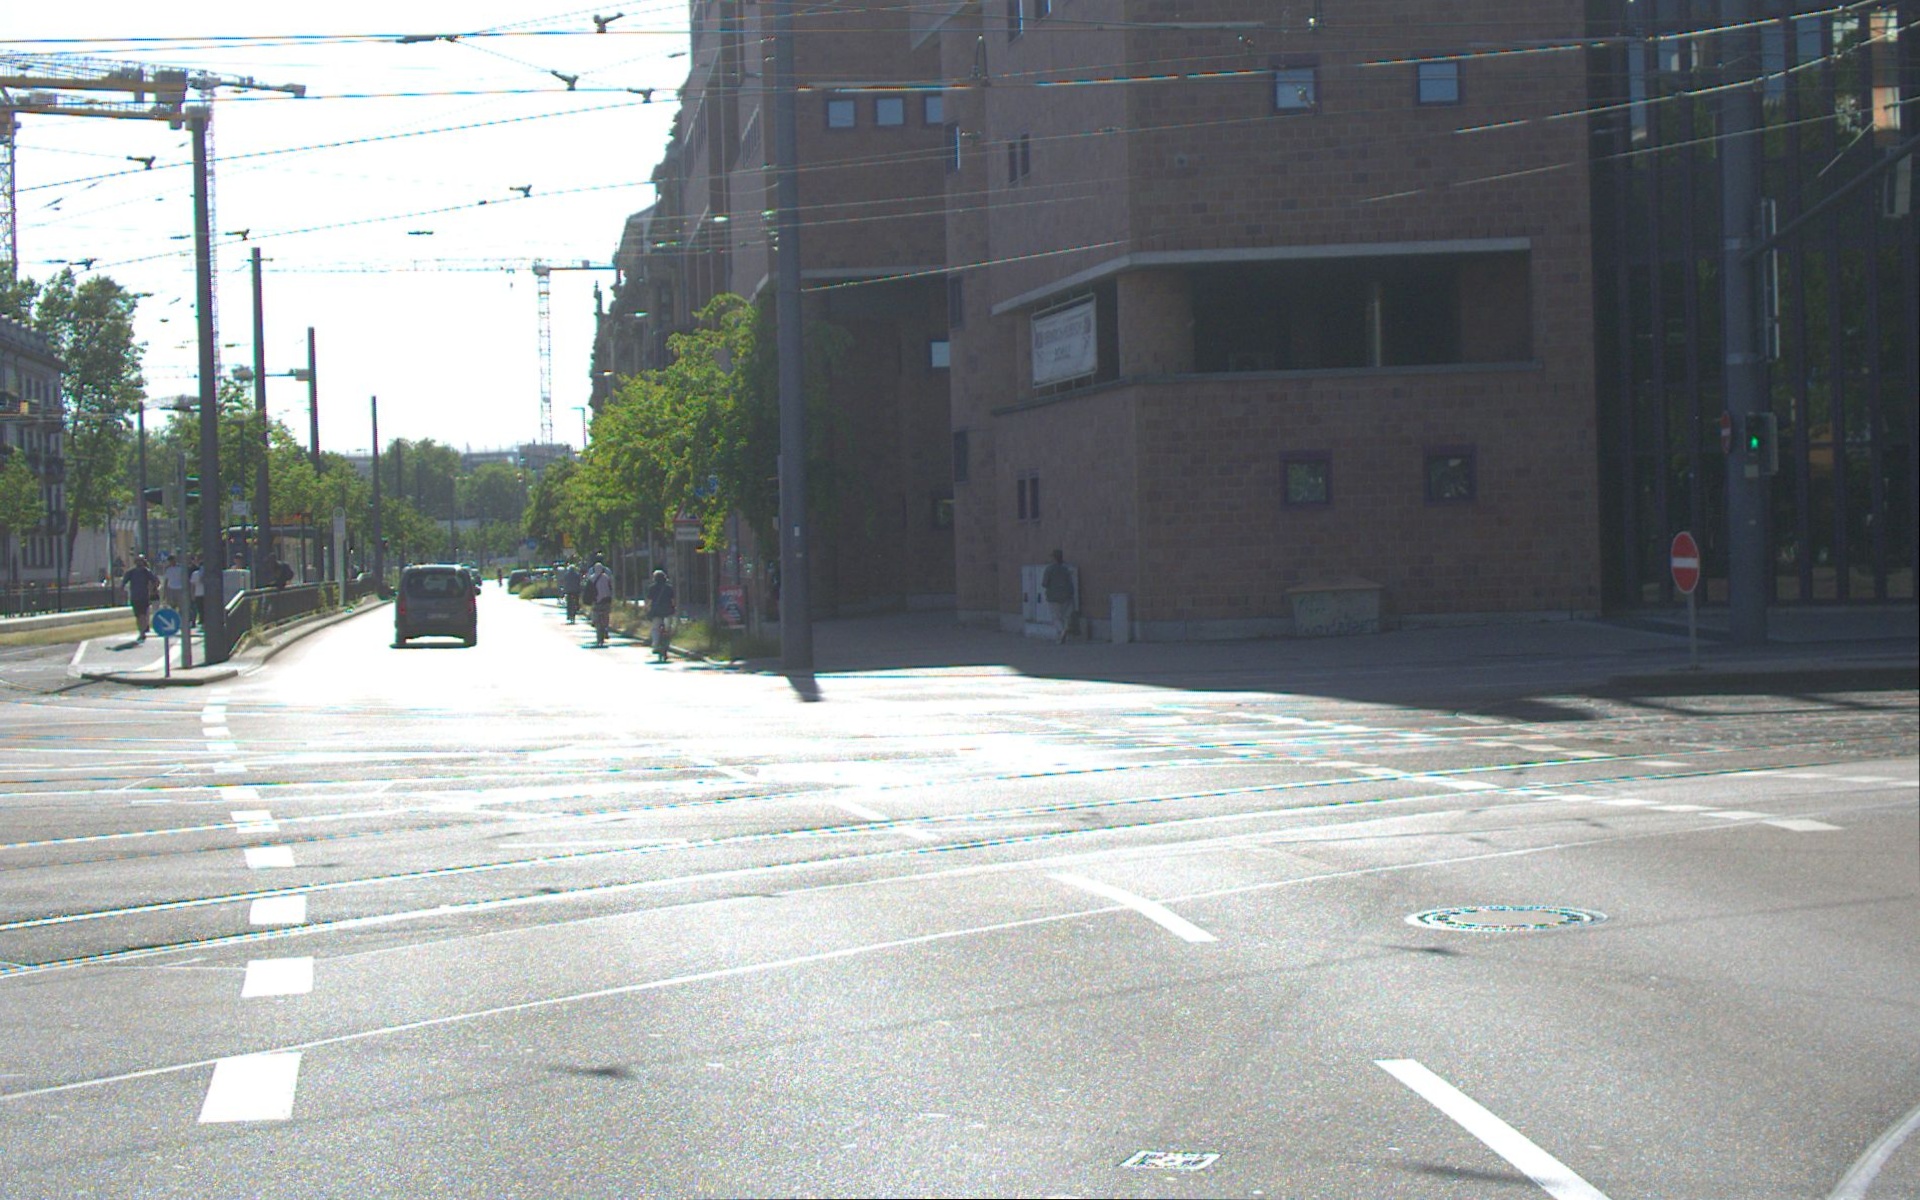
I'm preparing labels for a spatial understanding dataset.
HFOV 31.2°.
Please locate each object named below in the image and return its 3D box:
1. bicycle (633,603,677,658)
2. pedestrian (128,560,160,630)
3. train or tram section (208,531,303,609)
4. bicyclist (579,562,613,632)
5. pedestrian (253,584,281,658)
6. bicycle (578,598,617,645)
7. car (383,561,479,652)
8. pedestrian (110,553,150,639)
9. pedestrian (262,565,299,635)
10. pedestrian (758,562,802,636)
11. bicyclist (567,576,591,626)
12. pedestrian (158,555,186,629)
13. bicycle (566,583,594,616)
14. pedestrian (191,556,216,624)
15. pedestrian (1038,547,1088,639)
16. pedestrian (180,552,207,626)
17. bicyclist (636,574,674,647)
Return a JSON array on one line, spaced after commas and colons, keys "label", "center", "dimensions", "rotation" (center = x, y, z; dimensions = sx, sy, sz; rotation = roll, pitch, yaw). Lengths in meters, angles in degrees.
[{"label": "bicycle", "center": [-5.684, 0.554, 63.960], "dimensions": [0.603, 0.982, 2.315], "rotation": [-1, 1, -10]}, {"label": "pedestrian", "center": [-18.479, -0.112, 77.852], "dimensions": [0.600, 1.561, 0.914], "rotation": [-2, 1, -10]}, {"label": "train or tram section", "center": [-28.567, -1.268, 139.891], "dimensions": [2.326, 2.993, 13.162], "rotation": [-1, 1, -5]}, {"label": "bicyclist", "center": [-8.071, -0.063, 76.257], "dimensions": [0.667, 1.521, 0.707], "rotation": [-1, 0, -10]}, {"label": "pedestrian", "center": [-15.719, 0.482, 77.972], "dimensions": [0.538, 1.649, 0.707], "rotation": [-2, 1, -10]}, {"label": "bicycle", "center": [-8.042, 0.466, 76.177], "dimensions": [0.667, 0.982, 2.586], "rotation": [-1, 1, -10]}, {"label": "car", "center": [-11.960, 0.129, 77.588], "dimensions": [1.993, 1.941, 4.001], "rotation": [-2, 1, -10]}, {"label": "pedestrian", "center": [-16.566, -0.088, 68.626], "dimensions": [0.614, 1.663, 0.864], "rotation": [-5, 2, -11]}, {"label": "pedestrian", "center": [-16.976, 0.000, 85.898], "dimensions": [0.716, 1.729, 0.602], "rotation": [-2, 1, -27]}, {"label": "pedestrian", "center": [-4.239, -0.029, 80.974], "dimensions": [0.879, 1.711, 0.931], "rotation": [-2, 1, -10]}, {"label": "bicyclist", "center": [-11.785, 0.037, 106.355], "dimensions": [0.667, 1.521, 0.707], "rotation": [-1, 0, -10]}, {"label": "pedestrian", "center": [-17.864, -0.175, 77.950], "dimensions": [0.510, 1.649, 0.762], "rotation": [-2, 1, -10]}, {"label": "bicycle", "center": [-11.757, -0.030, 106.288], "dimensions": [0.667, 0.982, 2.586], "rotation": [-1, 1, -10]}, {"label": "pedestrian", "center": [-17.530, -0.226, 79.643], "dimensions": [0.518, 1.546, 0.601], "rotation": [-2, 1, -13]}, {"label": "pedestrian", "center": [1.785, -0.118, 59.628], "dimensions": [0.617, 1.558, 0.987], "rotation": [-2, 0, -11]}, {"label": "pedestrian", "center": [-18.328, -0.264, 82.218], "dimensions": [0.538, 1.767, 0.633], "rotation": [-2, 1, -10]}, {"label": "bicyclist", "center": [-5.650, 0.195, 63.735], "dimensions": [0.592, 1.331, 0.933], "rotation": [-1, 0, -10]}]
